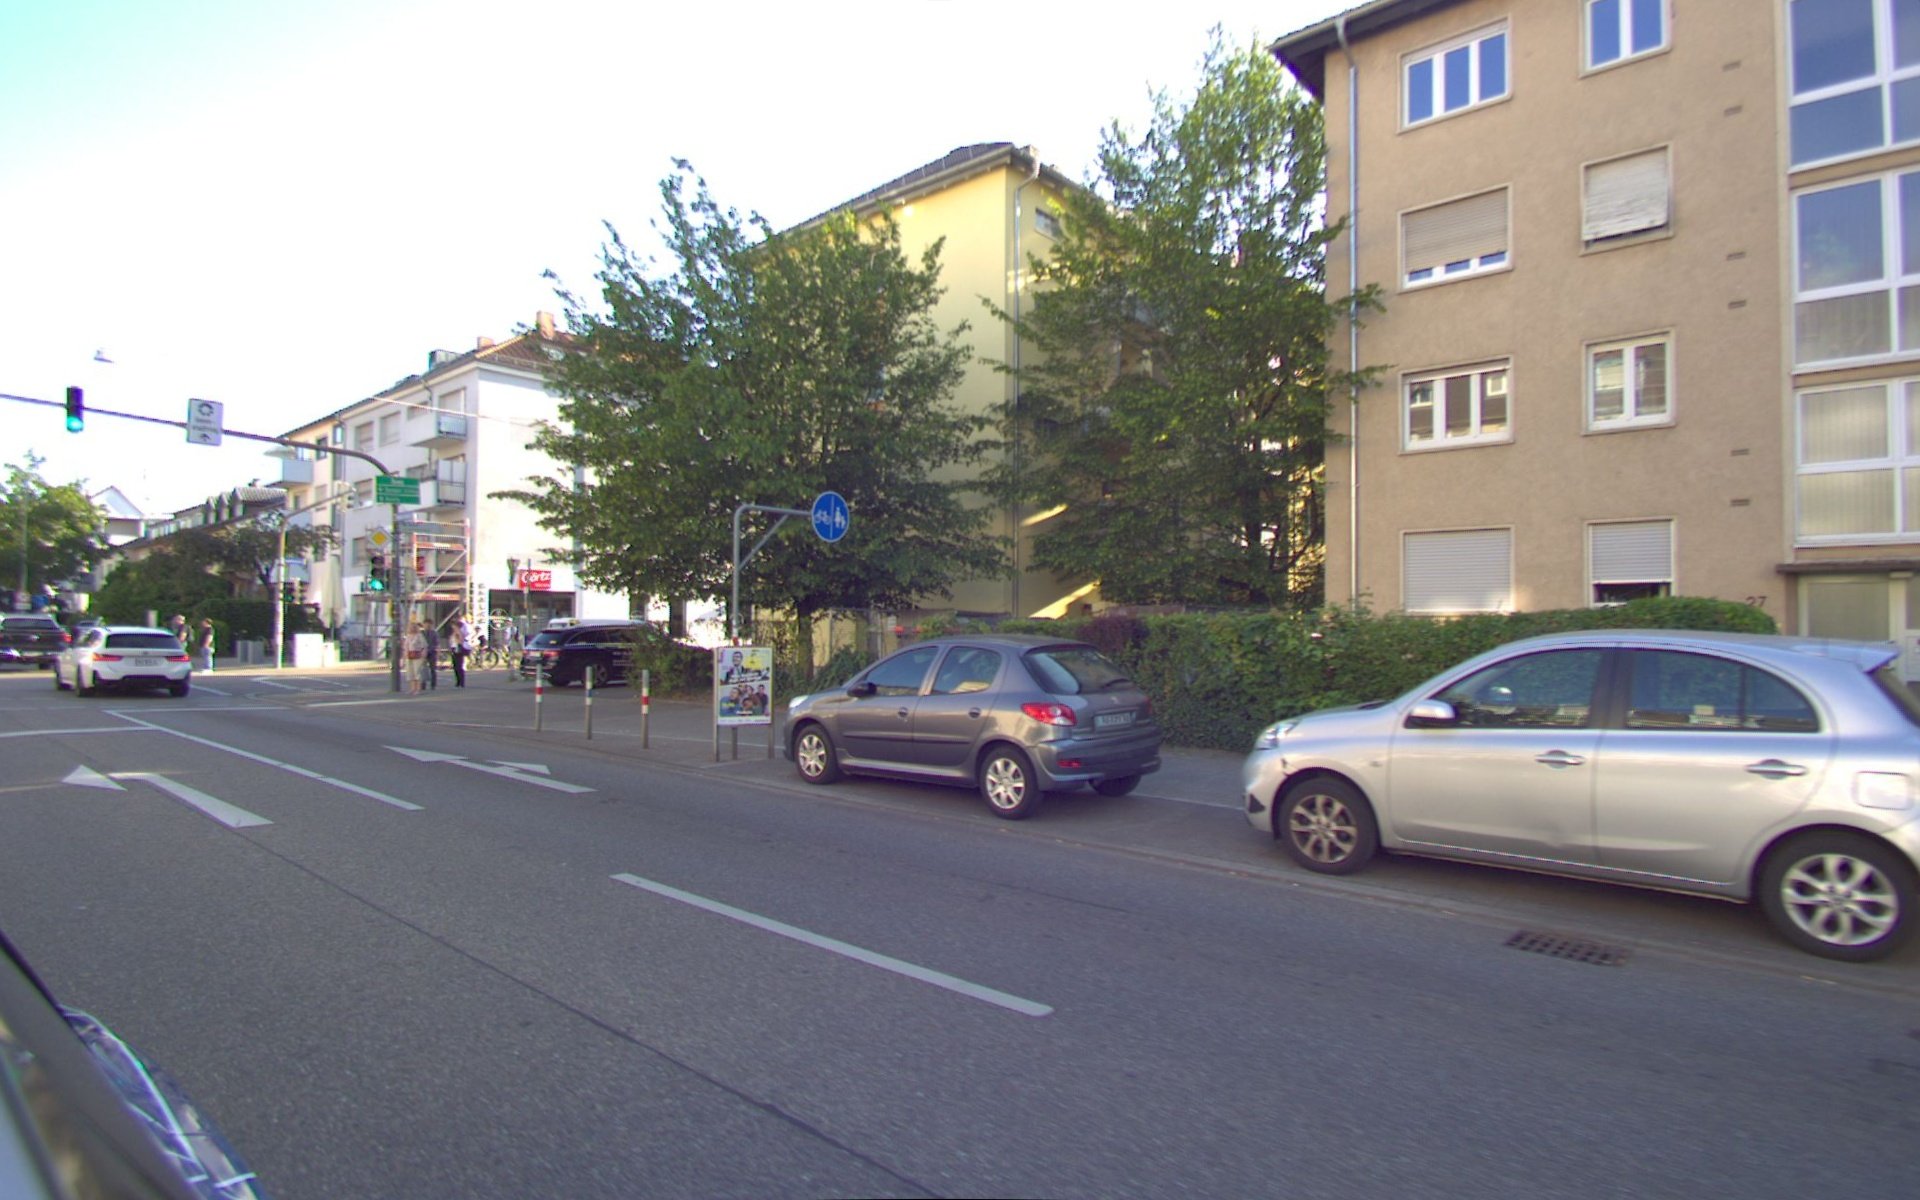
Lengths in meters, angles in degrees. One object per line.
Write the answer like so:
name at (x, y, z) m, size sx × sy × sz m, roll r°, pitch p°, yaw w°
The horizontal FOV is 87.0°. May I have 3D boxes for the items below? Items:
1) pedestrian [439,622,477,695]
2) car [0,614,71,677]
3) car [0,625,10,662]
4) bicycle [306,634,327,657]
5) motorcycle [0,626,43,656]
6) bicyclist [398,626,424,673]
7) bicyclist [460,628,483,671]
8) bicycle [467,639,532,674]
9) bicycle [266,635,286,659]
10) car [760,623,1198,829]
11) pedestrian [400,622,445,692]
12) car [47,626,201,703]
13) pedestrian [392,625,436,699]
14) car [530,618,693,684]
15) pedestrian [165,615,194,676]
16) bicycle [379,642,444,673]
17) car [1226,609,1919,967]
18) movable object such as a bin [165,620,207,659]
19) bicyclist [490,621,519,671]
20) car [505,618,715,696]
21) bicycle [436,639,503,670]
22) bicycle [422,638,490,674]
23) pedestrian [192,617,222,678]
pedestrian at (-11.971, 1.378, 24.141) m, size 0.598 × 1.641 × 0.752 m, roll -2°, pitch 1°, yaw -12°
car at (-29.582, 1.409, 31.766) m, size 5.226 × 1.844 × 1.842 m, roll -1°, pitch -4°, yaw 42°
car at (-42.025, 1.845, 43.206) m, size 3.999 × 1.569 × 1.785 m, roll -1°, pitch -1°, yaw 42°
bicycle at (-28.602, 2.009, 44.985) m, size 1.477 × 1.022 × 0.433 m, roll -1°, pitch -2°, yaw 44°
motorcycle at (-50.085, 2.148, 53.669) m, size 2.877 × 1.547 × 1.251 m, roll -1°, pitch -2°, yaw 28°
bicyclist at (-19.960, 1.788, 36.792) m, size 0.662 × 1.666 × 0.751 m, roll 2°, pitch -3°, yaw -39°
bicyclist at (-18.820, 1.893, 38.978) m, size 0.677 × 1.606 × 0.752 m, roll 3°, pitch -1°, yaw -30°
bicycle at (-15.943, 1.933, 35.079) m, size 0.726 × 1.166 × 1.975 m, roll -2°, pitch -3°, yaw 35°
bicycle at (-29.740, 2.019, 43.990) m, size 1.477 × 1.022 × 0.433 m, roll -1°, pitch -2°, yaw 44°
car at (0.018, 0.968, 9.295) m, size 3.943 × 1.490 × 1.635 m, roll -1°, pitch -2°, yaw 43°
pedestrian at (-12.956, 1.357, 24.383) m, size 0.607 × 1.670 × 0.741 m, roll -1°, pitch -2°, yaw 34°
car at (-18.104, 1.334, 21.831) m, size 4.669 × 1.485 × 1.817 m, roll -1°, pitch -4°, yaw 42°
pedestrian at (-12.208, 1.372, 22.614) m, size 0.749 × 1.606 × 0.601 m, roll 0°, pitch -1°, yaw 38°
car at (-10.658, 1.519, 31.200) m, size 1.907 × 1.862 × 4.426 m, roll -1°, pitch -2°, yaw 41°
pedestrian at (-26.782, 1.551, 34.720) m, size 0.739 × 2.029 × 0.631 m, roll -1°, pitch -2°, yaw 42°
bicycle at (-19.935, 2.089, 36.801) m, size 1.967 × 1.097 × 0.729 m, roll 2°, pitch -3°, yaw -39°
car at (3.688, 0.864, 5.968) m, size 3.784 × 1.564 × 1.620 m, roll -1°, pitch -2°, yaw 41°
movable object such as a bin at (-35.613, 1.788, 46.581) m, size 1.180 × 1.670 × 1.292 m, roll 0°, pitch 2°, yaw 41°
bicyclist at (-15.852, 1.604, 35.228) m, size 0.748 × 1.734 × 0.601 m, roll -2°, pitch -3°, yaw 36°
car at (-8.347, 1.293, 24.515) m, size 1.841 × 1.626 × 4.546 m, roll -1°, pitch -1°, yaw 38°
bicycle at (-18.871, 2.101, 38.952) m, size 2.233 × 1.097 × 0.730 m, roll 3°, pitch -1°, yaw -30°
bicycle at (-17.206, 1.911, 34.608) m, size 0.726 × 1.175 × 1.975 m, roll -3°, pitch -3°, yaw 35°
pedestrian at (-25.383, 1.586, 34.107) m, size 0.814 × 2.029 × 0.637 m, roll 0°, pitch -1°, yaw 42°
